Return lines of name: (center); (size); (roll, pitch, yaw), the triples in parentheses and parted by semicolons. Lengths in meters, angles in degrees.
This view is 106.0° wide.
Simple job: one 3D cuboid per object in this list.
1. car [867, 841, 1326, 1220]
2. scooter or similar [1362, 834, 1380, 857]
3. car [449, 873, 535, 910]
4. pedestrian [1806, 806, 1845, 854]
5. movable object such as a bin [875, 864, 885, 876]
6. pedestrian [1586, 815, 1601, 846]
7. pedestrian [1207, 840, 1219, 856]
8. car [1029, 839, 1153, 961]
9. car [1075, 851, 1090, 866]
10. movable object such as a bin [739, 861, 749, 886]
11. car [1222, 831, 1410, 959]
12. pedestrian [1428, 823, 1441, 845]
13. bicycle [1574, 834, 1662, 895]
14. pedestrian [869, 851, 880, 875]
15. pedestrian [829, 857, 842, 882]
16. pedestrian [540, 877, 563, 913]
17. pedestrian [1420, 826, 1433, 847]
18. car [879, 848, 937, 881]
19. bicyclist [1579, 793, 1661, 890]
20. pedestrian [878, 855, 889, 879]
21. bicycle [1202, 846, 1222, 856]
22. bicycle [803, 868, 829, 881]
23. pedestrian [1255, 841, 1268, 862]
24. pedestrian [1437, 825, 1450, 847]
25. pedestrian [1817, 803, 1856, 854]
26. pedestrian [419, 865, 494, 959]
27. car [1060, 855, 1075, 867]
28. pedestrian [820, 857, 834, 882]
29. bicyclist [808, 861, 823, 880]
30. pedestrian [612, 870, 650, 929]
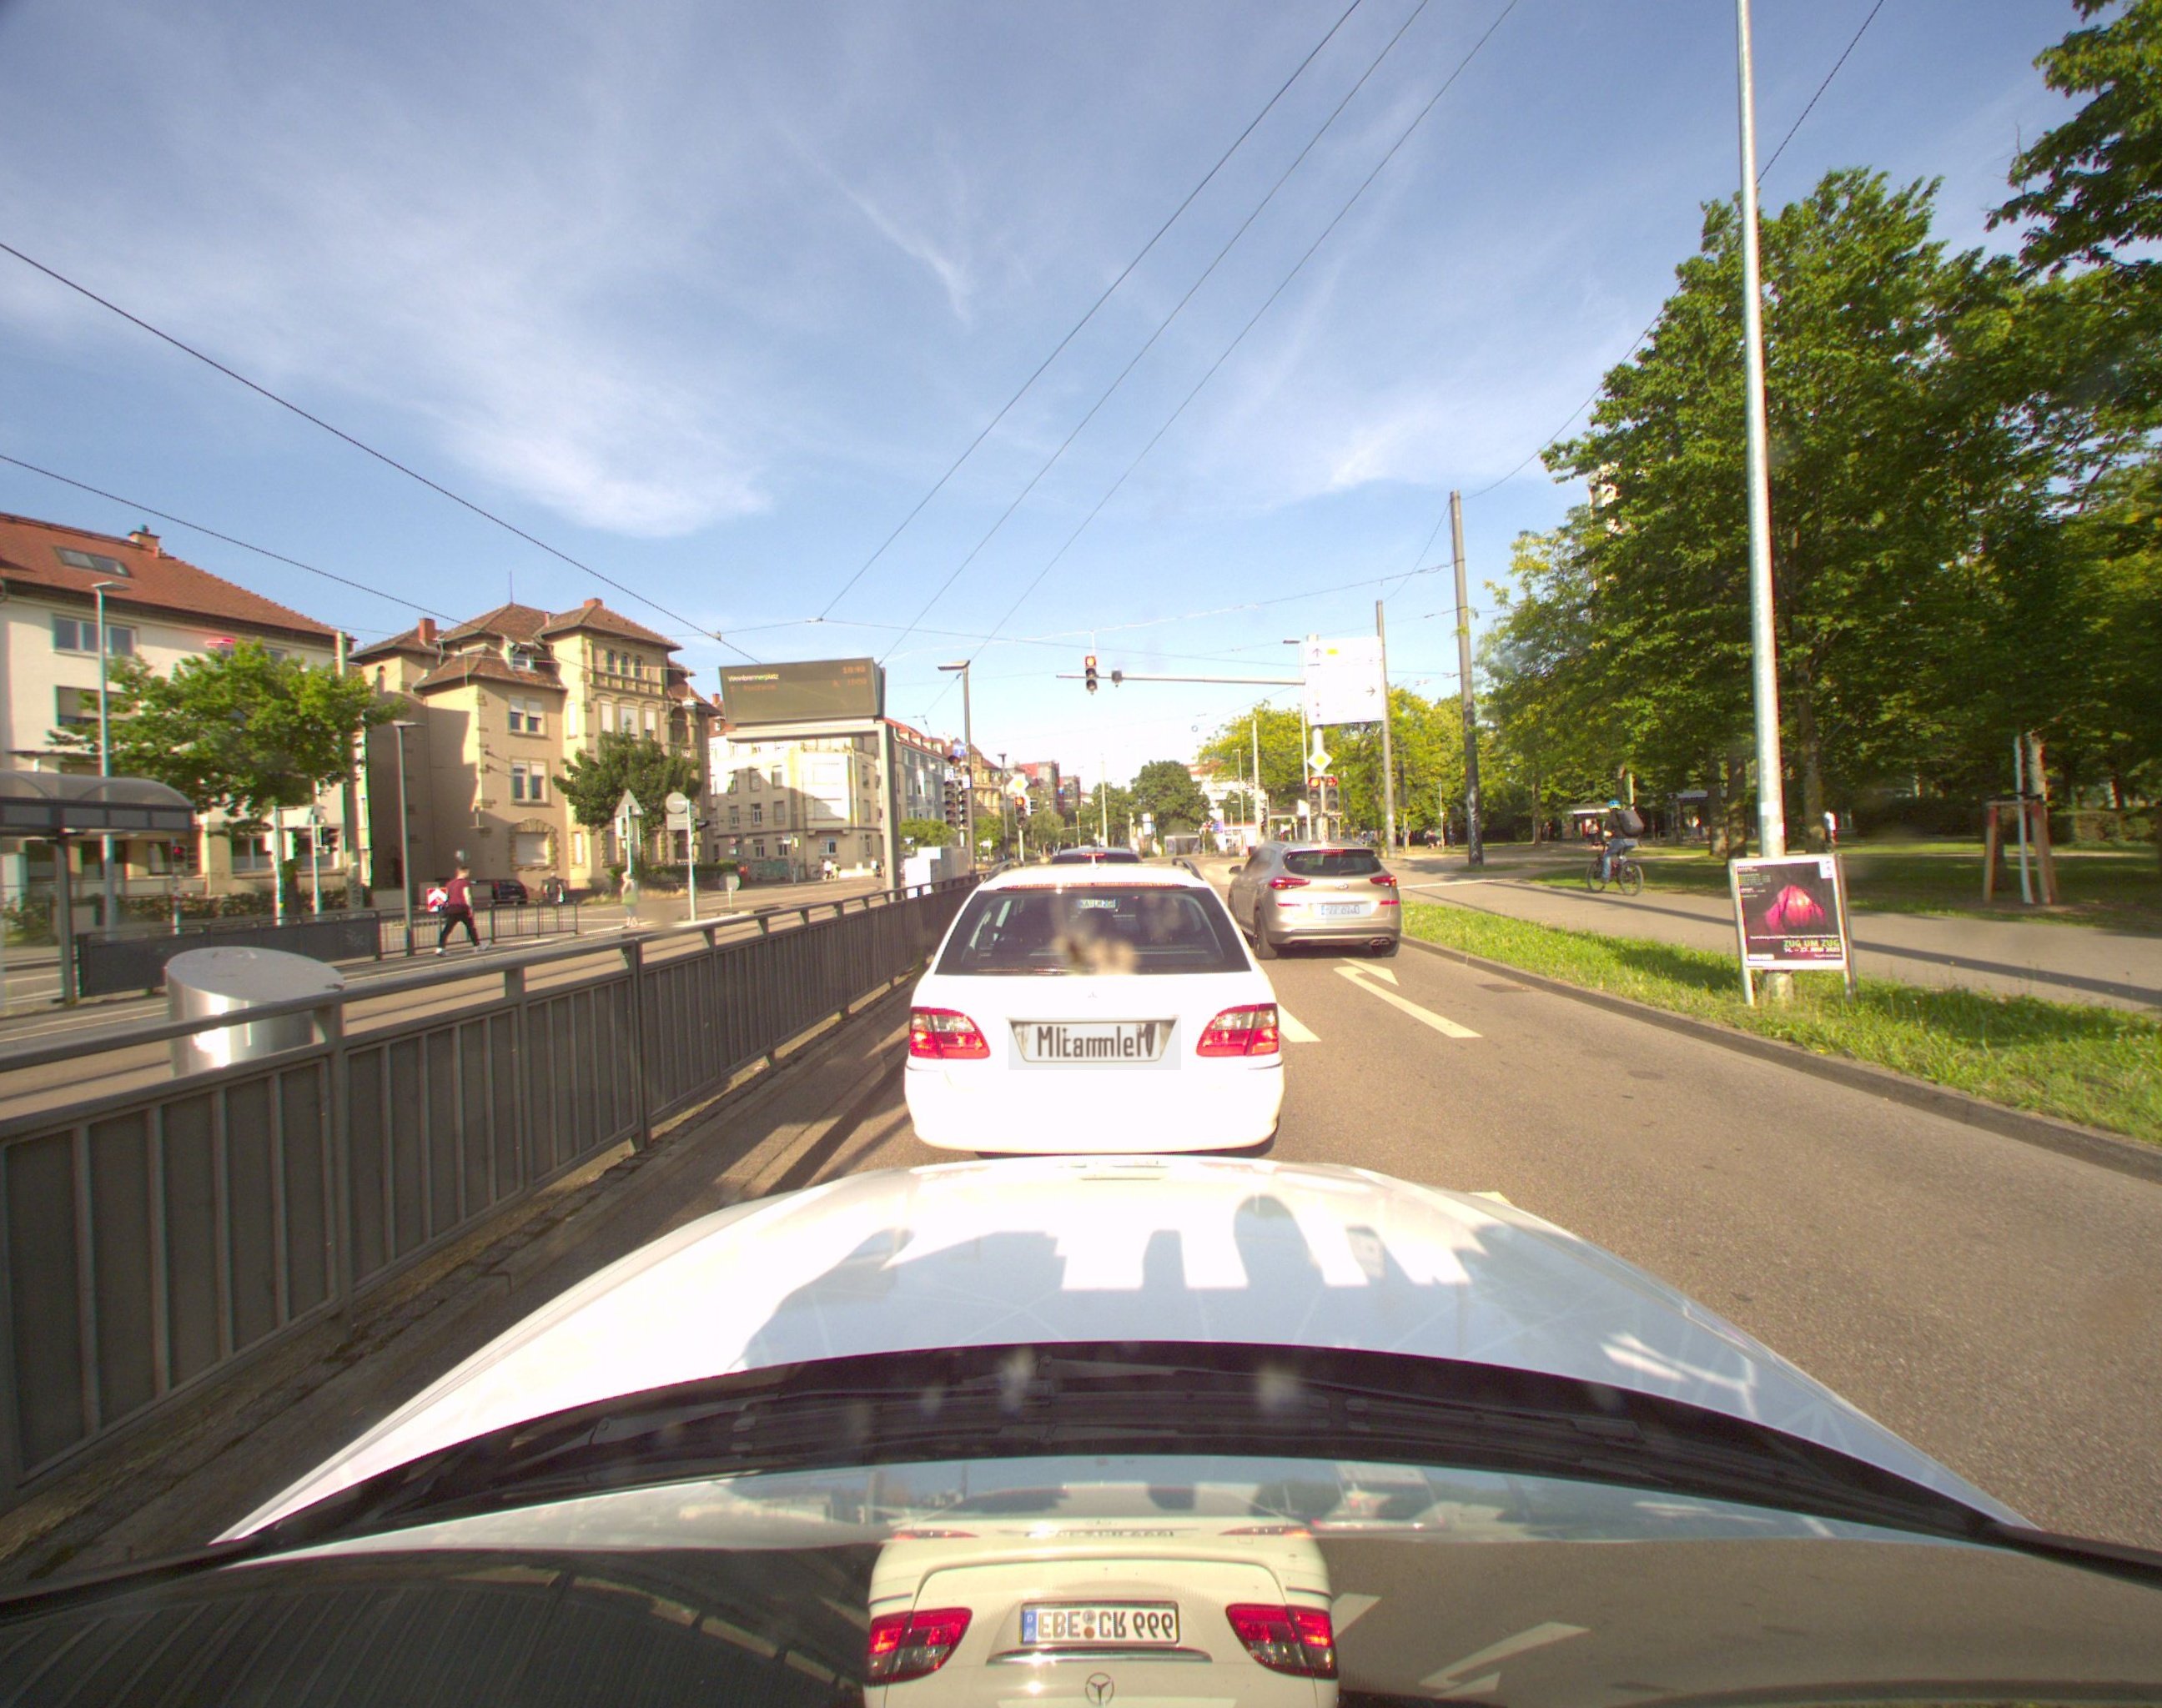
car: (0.120, 0.708, 5.203); (1.828, 1.501, 3.817); (-1, 0, 2)
scooter or similar: (16.107, -0.450, 45.236); (0.351, 1.232, 1.131); (-3, 0, -12)
car: (-29.370, 1.870, 40.603); (3.950, 1.632, 1.787); (-3, 1, 26)
pedestrian: (28.170, -0.906, 30.835); (0.668, 1.777, 0.881); (0, 0, 3)
movable object such as a bin: (-16.636, 1.354, 67.334); (0.581, 0.947, 0.663); (-3, 0, 0)
pedestrian: (31.526, -1.427, 50.130); (0.462, 1.868, 0.601); (0, -1, -23)
pedestrian: (14.044, -0.616, 86.515); (0.998, 1.591, 0.870); (-3, 0, 21)
car: (0.193, 0.605, 12.792); (1.635, 1.600, 3.817); (-1, 0, 2)
car: (0.278, 0.661, 130.887); (2.168, 2.239, 5.257); (-3, 0, 3)
movable object such as a bin: (-23.481, 1.365, 56.764); (0.265, 1.709, 2.360); (-3, 0, -29)
car: (3.332, 0.512, 12.305); (1.828, 1.600, 3.817); (-1, 0, 2)
pedestrian: (27.434, -1.537, 63.267); (0.638, 1.665, 0.691); (-3, 0, 1)
bicycle: (10.424, 0.189, 15.881); (0.637, 1.088, 1.736); (-5, 0, 6)
pedestrian: (-16.862, 0.751, 66.380); (0.581, 1.881, 0.628); (-3, 0, 6)
pedestrian: (-18.599, 1.188, 61.732); (0.672, 1.848, 0.649); (-3, 0, -1)
pedestrian: (-24.443, 1.892, 37.584); (0.672, 1.651, 0.608); (-3, 0, 28)
pedestrian: (27.191, -1.337, 64.120); (0.638, 1.610, 0.691); (-3, 0, 1)
car: (-11.882, 0.684, 56.260); (2.133, 2.013, 5.398); (-3, 0, 7)
bicyclist: (10.395, -0.231, 15.748); (0.716, 1.745, 1.142); (-6, 0, 5)
pedestrian: (-16.132, 1.031, 66.524); (0.582, 1.880, 0.626); (-3, 2, -1)
bicycle: (13.925, -0.307, 86.566); (2.000, 0.947, 0.884); (-3, 0, 21)
bicycle: (-23.006, 1.757, 70.814); (1.986, 1.006, 0.742); (-3, 0, -3)
pedestrian: (17.961, -0.226, 80.875); (0.986, 2.013, 0.833); (-3, 0, 29)
pedestrian: (27.659, -1.353, 62.086); (0.638, 1.665, 0.691); (-3, 0, 1)
pedestrian: (28.939, -0.967, 31.202); (0.668, 1.897, 0.880); (0, 0, 3)
pedestrian: (-11.732, 1.066, 15.330); (0.668, 1.670, 0.883); (-3, 0, -1)
car: (-1.868, 0.967, 114.635); (1.670, 1.525, 4.128); (-3, 1, 3)
pedestrian: (-19.311, 1.176, 61.931); (0.653, 1.881, 0.629); (-3, 0, 16)
bicyclist: (-23.060, 1.464, 70.808); (1.037, 1.569, 0.661); (-3, 0, -3)
pedestrian: (-12.552, 1.261, 22.725); (0.588, 1.589, 0.715); (-3, 0, -2)
